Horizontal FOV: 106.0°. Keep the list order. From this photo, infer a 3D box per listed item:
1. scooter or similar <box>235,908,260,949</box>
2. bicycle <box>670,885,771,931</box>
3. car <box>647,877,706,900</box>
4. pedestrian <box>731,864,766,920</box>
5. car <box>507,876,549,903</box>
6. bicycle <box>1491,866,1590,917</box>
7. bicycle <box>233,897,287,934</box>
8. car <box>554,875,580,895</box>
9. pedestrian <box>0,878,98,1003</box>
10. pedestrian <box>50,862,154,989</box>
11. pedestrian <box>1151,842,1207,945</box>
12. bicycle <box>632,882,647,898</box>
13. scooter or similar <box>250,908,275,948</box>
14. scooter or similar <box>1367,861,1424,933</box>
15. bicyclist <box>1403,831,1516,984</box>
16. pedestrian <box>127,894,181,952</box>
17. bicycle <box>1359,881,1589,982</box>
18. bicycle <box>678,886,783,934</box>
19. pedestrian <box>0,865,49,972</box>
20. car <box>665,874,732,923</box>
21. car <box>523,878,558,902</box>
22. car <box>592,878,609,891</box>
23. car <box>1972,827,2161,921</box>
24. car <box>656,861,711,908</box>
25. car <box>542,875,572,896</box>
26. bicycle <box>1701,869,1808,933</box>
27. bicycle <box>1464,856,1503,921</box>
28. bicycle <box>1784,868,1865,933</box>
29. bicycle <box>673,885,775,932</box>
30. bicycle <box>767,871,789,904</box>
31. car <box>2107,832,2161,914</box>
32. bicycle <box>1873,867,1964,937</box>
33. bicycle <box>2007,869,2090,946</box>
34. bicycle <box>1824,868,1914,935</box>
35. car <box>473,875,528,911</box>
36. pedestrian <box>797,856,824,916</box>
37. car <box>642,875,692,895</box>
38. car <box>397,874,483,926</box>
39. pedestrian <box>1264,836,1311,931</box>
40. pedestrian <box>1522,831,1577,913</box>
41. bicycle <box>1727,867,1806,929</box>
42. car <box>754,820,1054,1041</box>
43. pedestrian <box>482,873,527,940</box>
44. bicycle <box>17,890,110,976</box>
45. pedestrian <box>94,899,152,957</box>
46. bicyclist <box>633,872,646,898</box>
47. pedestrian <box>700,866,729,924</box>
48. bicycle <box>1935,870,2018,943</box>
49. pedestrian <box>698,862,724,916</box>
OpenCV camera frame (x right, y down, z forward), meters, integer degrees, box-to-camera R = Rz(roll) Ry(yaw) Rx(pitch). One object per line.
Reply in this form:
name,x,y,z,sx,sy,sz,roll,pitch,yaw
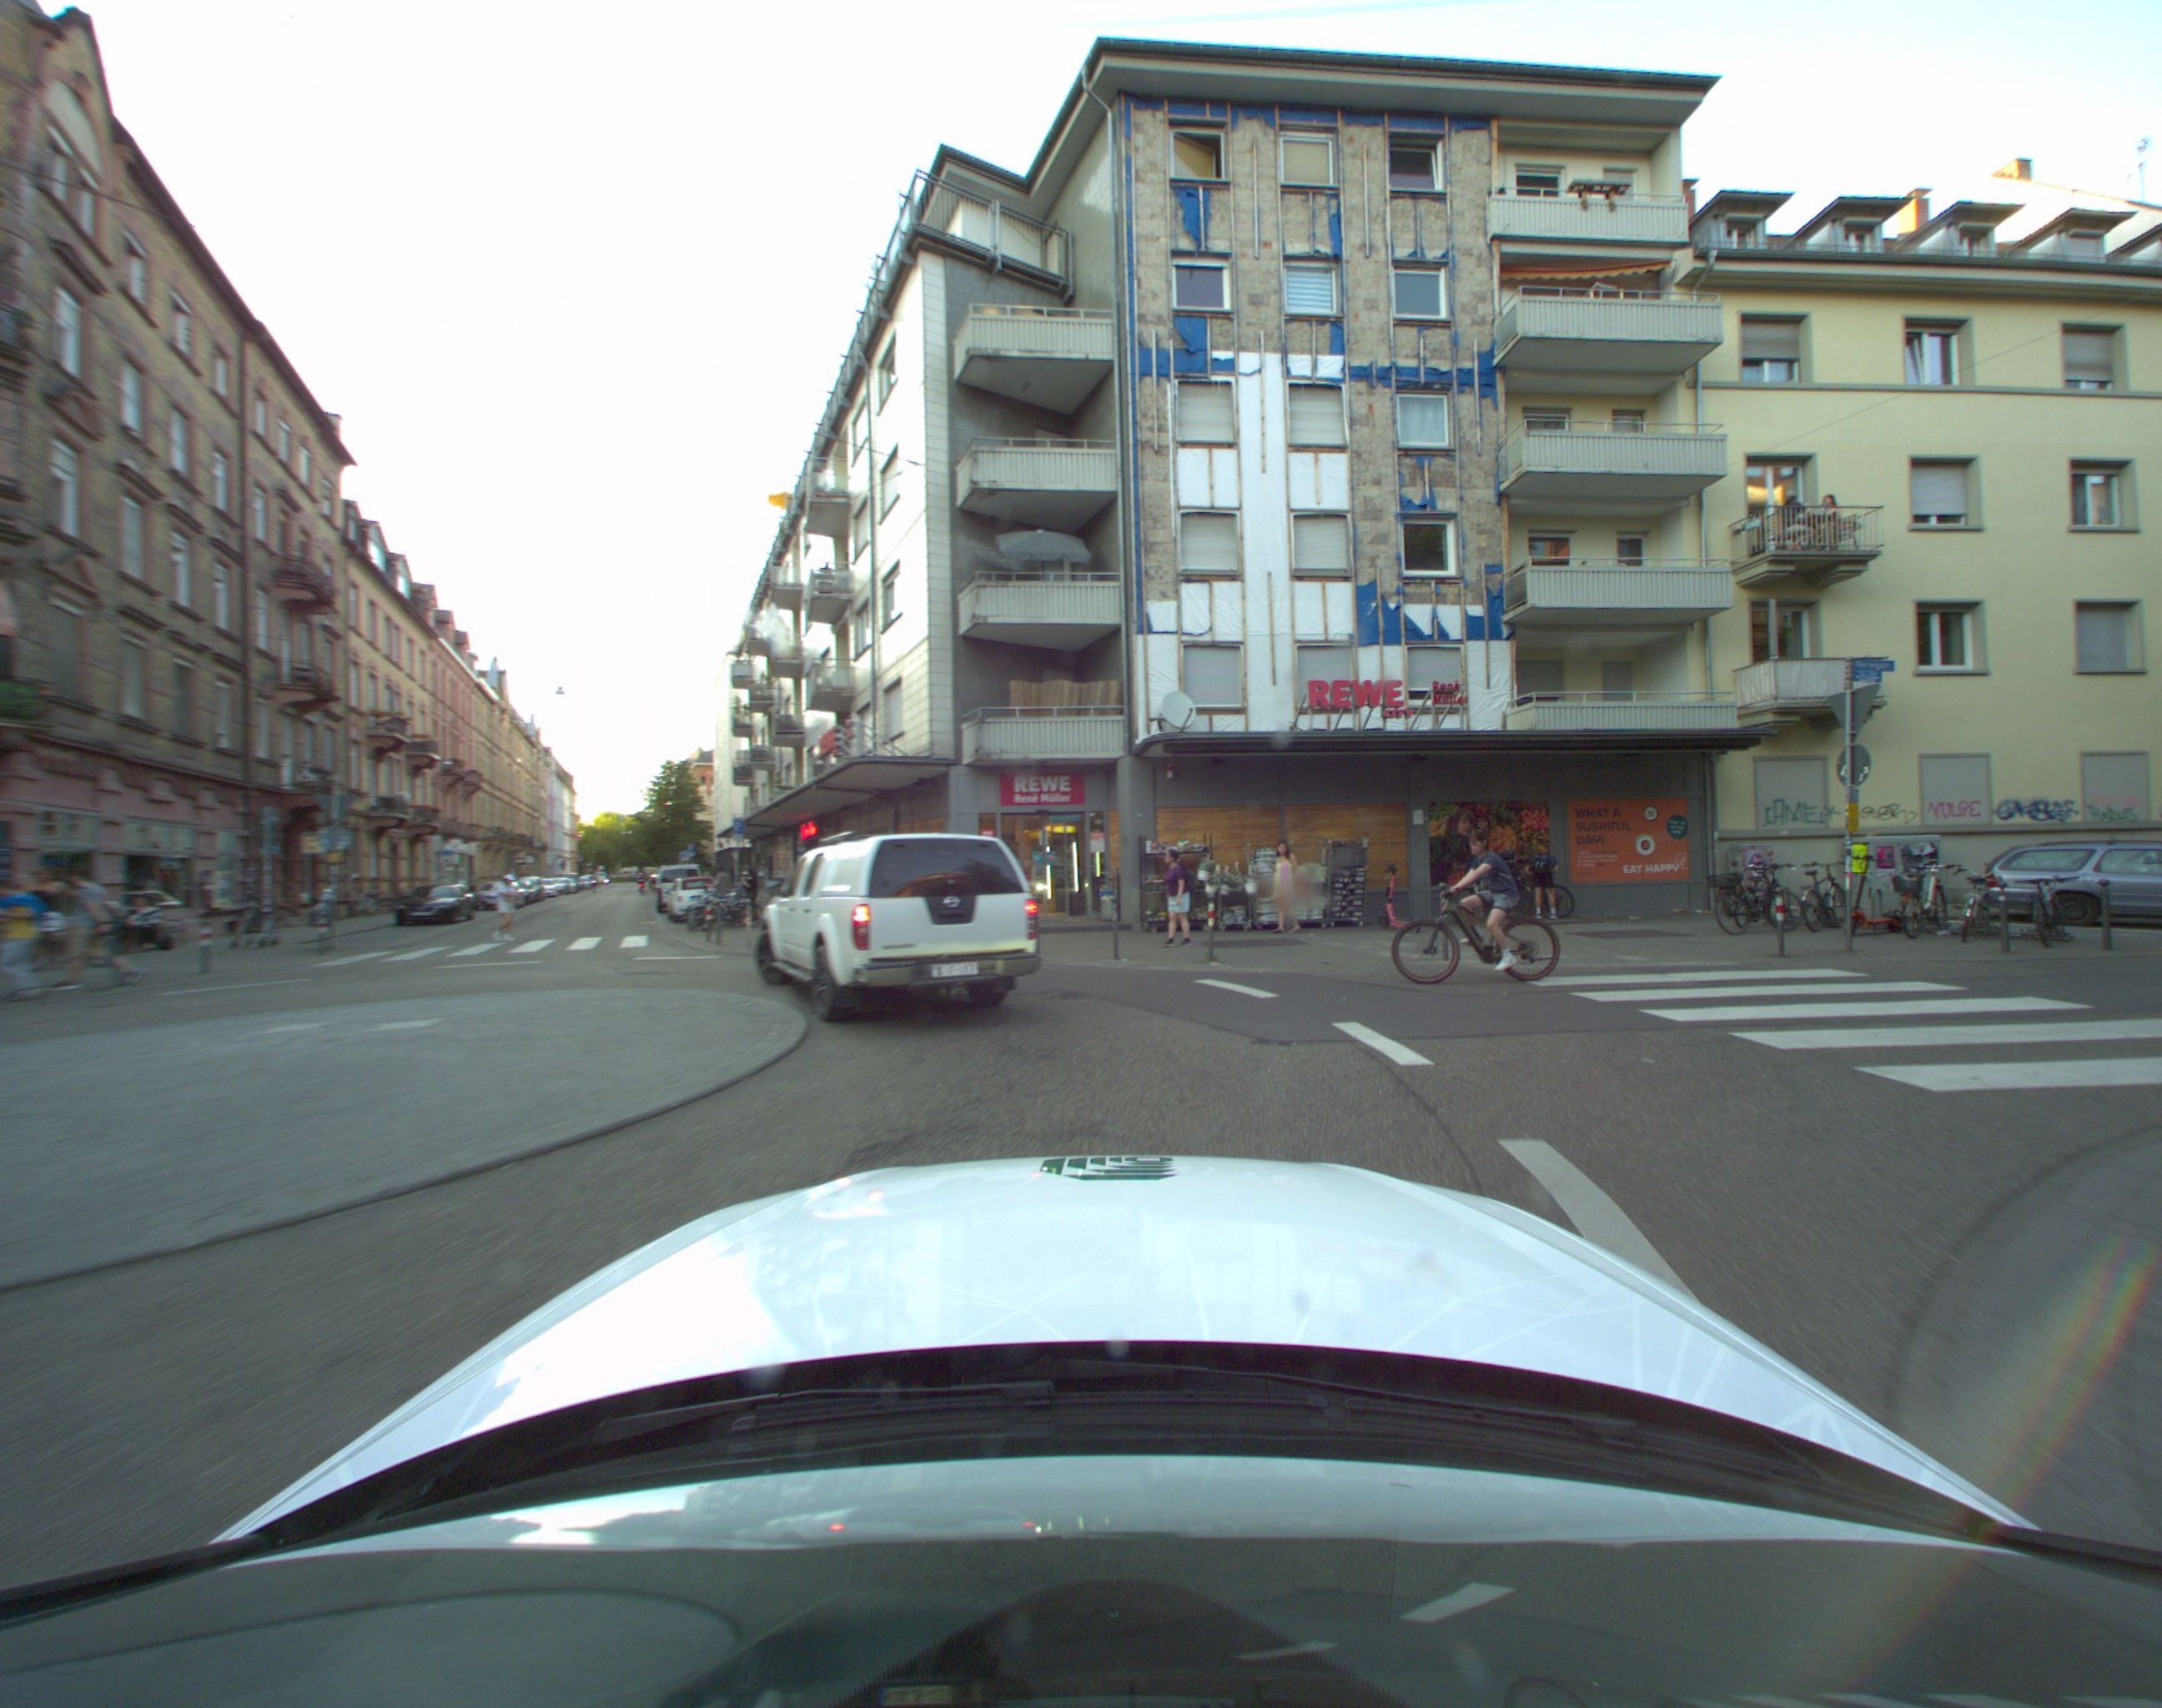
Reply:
scooter or similar,-19.968,1.775,19.498,1.249,0.929,0.235,-2,-3,36
bicycle,-10.180,1.508,23.057,2.479,1.038,0.610,-4,0,-34
car,-31.611,2.670,63.663,4.011,1.750,1.823,0,-2,-30
pedestrian,-10.045,1.148,24.634,0.697,1.663,0.723,-1,-2,4
car,-35.515,2.265,52.349,1.845,1.679,3.999,1,-2,-29
bicycle,9.452,0.762,16.778,1.873,1.027,0.377,0,-2,-5
bicycle,-24.899,1.849,24.731,0.389,1.037,2.460,1,-2,-27
car,-48.182,2.918,76.431,1.845,1.750,3.962,1,-2,-29
pedestrian,-15.029,1.221,11.715,0.907,1.736,0.611,0,-2,-23
pedestrian,-15.280,1.084,12.721,0.608,1.885,0.912,-2,-2,31
pedestrian,1.620,0.642,13.450,0.704,1.652,0.722,-2,-2,25
bicycle,-33.141,2.675,61.116,0.842,1.171,1.919,0,-2,-25
scooter or similar,-19.813,1.780,19.712,1.249,0.929,0.235,-2,-3,36
scooter or similar,5.809,0.763,15.080,0.321,1.266,1.283,0,0,-13
bicyclist,4.360,0.595,9.458,0.988,1.689,0.793,-1,0,10
pedestrian,-21.334,1.583,18.757,0.653,1.286,0.534,1,-2,-32
bicycle,4.472,0.877,9.436,2.263,1.073,0.793,-1,0,10
bicycle,-9.424,1.473,21.947,2.479,1.038,0.610,-4,0,-33
pedestrian,-18.760,1.126,14.450,0.565,1.840,0.508,-2,-3,39
car,-13.377,1.508,28.357,1.845,1.542,3.962,1,-2,-29
car,-40.570,2.685,61.193,1.845,1.750,3.962,1,-2,-29
car,-67.989,4.353,115.254,1.845,1.750,3.962,1,-2,-29
car,18.458,0.331,13.767,2.010,1.526,4.490,1,-2,-41
car,-17.596,1.335,35.975,1.954,1.934,3.962,1,-2,-29
car,-44.679,2.696,69.530,1.845,1.750,3.962,1,-2,-29
bicycle,11.129,0.764,13.457,1.657,1.027,0.376,0,-2,-11
bicycle,7.868,0.658,15.966,0.345,1.203,1.817,-1,-2,17
bicycle,12.500,0.756,13.671,2.021,1.027,0.374,0,-2,-30
bicycle,-9.832,1.486,22.491,2.479,1.038,0.610,-4,0,-34
bicycle,-13.435,1.464,36.069,0.559,1.408,2.074,1,-2,-30
car,21.543,0.305,13.942,1.999,1.526,4.515,0,-2,-18
bicycle,13.106,0.720,12.726,2.021,1.027,0.487,0,-2,-30
bicycle,13.952,0.742,11.728,2.023,1.027,0.486,1,-2,-33
bicycle,12.799,0.738,13.205,2.021,1.027,0.487,0,-2,-30
car,-30.024,1.995,42.216,1.845,1.750,4.123,1,-2,-29
pedestrian,-8.762,1.030,26.414,0.724,1.907,0.696,1,-2,-28
car,-37.668,2.809,74.136,4.011,1.750,1.823,0,-2,-30
car,-23.451,1.643,29.944,1.845,1.750,3.962,1,-2,-29
pedestrian,3.858,0.551,15.200,0.658,1.726,0.726,-2,-2,28
pedestrian,9.378,0.370,16.326,0.662,1.601,0.718,-1,-2,2
bicycle,12.109,0.753,14.360,2.021,1.027,0.374,0,-2,-30
car,-2.324,0.622,9.291,1.950,1.810,4.953,0,0,-30
pedestrian,-14.380,1.296,20.337,0.803,1.621,0.935,1,-2,-31
bicycle,-18.245,1.371,14.645,0.427,1.443,1.885,1,-2,-33
pedestrian,-20.806,1.592,17.705,0.653,1.191,0.534,1,-2,-32
bicyclist,-33.086,2.296,61.037,0.842,1.944,0.778,0,-2,-26
pedestrian,-10.721,1.192,23.815,0.724,1.663,0.696,1,-2,-28
bicycle,13.579,0.764,12.336,2.023,1.027,0.486,1,-2,-33
pedestrian,-11.610,1.083,25.578,0.704,1.663,0.716,1,-2,-27
